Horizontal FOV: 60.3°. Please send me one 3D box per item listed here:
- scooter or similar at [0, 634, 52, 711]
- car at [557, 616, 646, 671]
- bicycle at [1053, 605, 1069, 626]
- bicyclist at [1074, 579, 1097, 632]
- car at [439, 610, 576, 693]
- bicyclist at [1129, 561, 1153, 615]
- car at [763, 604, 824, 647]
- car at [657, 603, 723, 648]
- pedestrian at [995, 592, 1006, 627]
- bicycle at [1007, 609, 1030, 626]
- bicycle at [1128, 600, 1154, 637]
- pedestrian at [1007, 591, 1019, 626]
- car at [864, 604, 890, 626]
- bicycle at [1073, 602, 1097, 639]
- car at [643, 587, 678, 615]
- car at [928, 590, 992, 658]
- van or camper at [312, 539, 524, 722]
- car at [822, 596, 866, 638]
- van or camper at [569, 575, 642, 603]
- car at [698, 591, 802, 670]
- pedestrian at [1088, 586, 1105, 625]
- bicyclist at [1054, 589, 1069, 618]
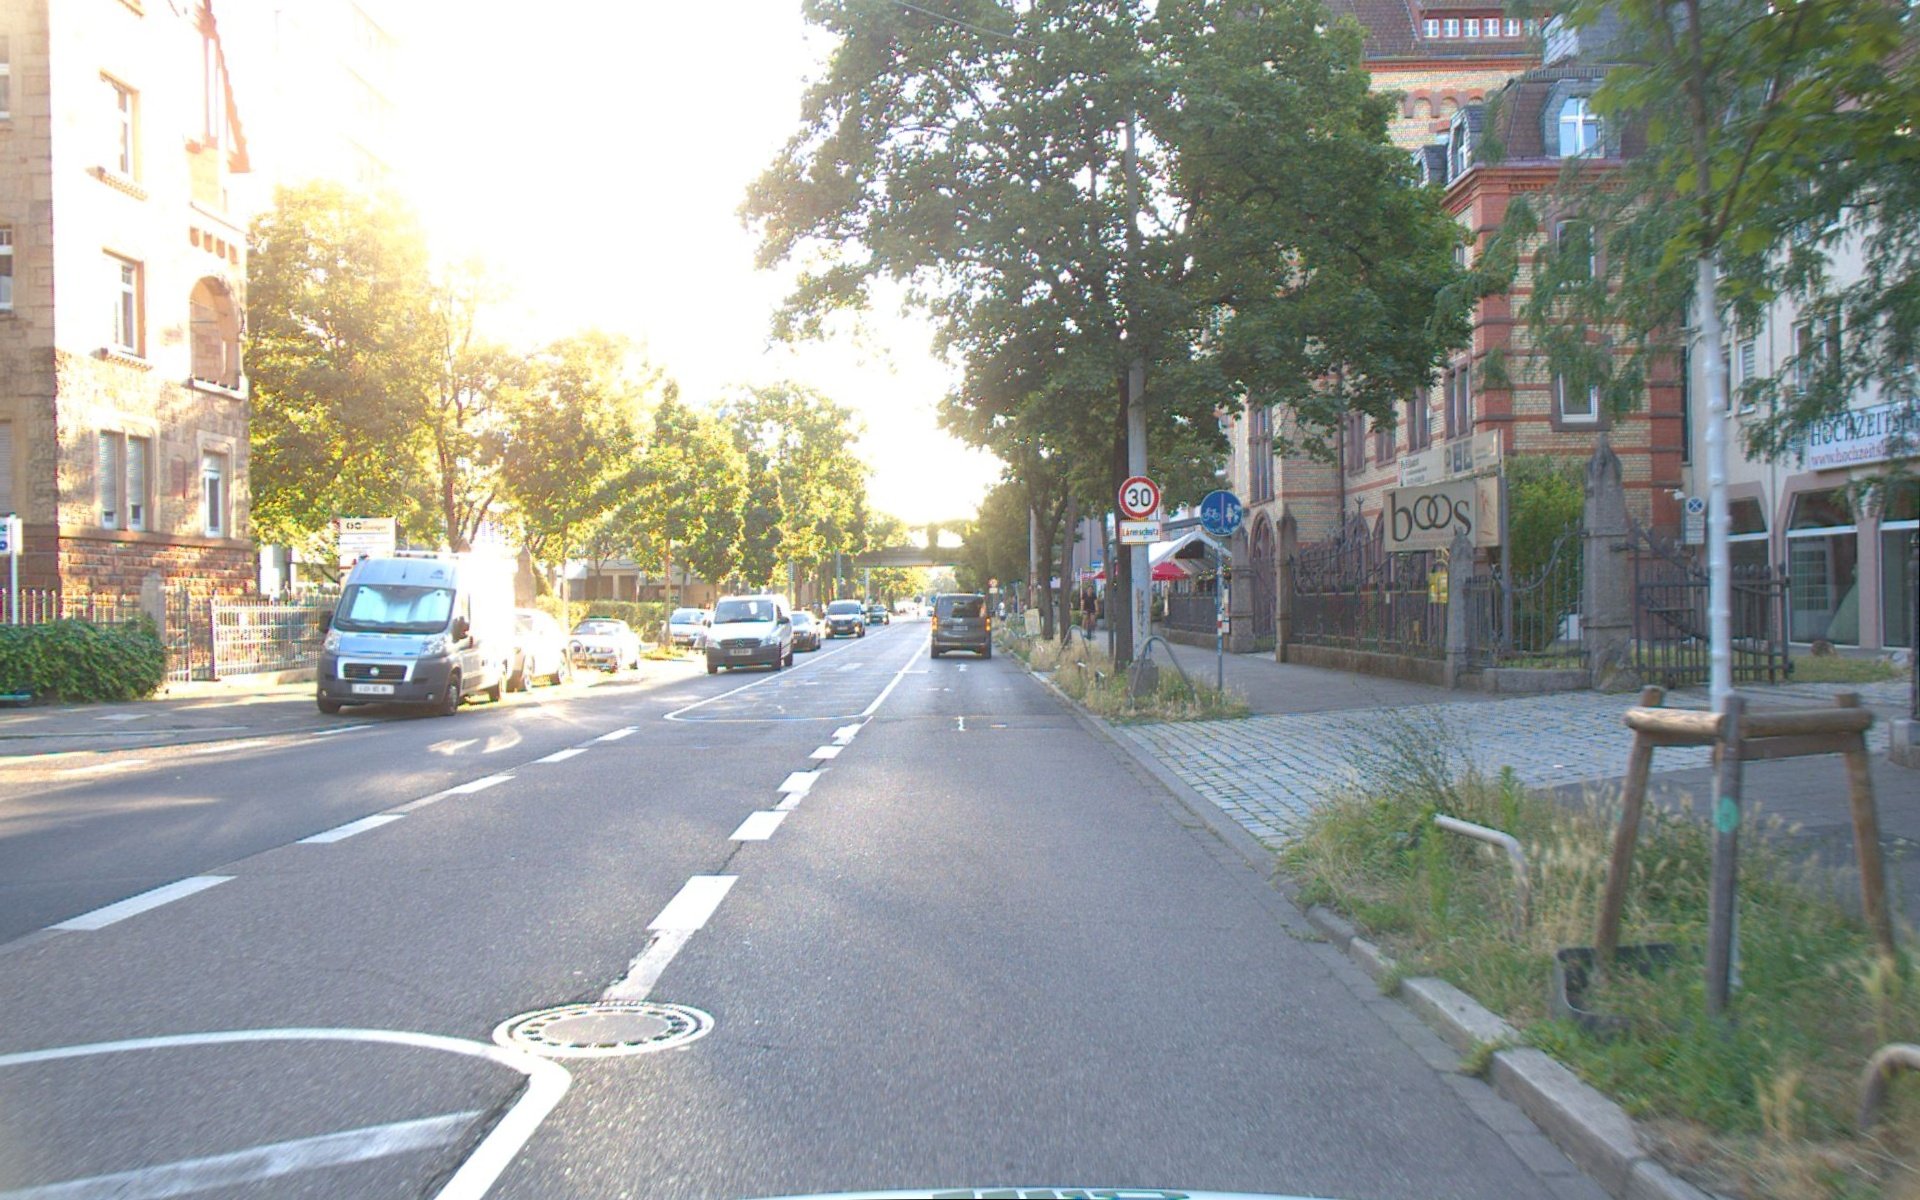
[{"bbox_3d":[-13.733,1.051,23.789,0.283,1.075,1.111,-2,0,42],"label":"scooter or similar"},{"bbox_3d":[-8.998,1.067,41.709,1.505,1.270,3.613,1,0,-1],"label":"car"},{"bbox_3d":[4.457,0.677,72.846,0.567,0.913,1.987,1,0,0],"label":"bicycle"},{"bbox_3d":[3.744,0.165,49.444,0.583,1.559,0.893,1,0,-1],"label":"bicyclist"},{"bbox_3d":[-9.277,1.017,34.246,1.711,1.561,4.301,1,0,-1],"label":"car"},{"bbox_3d":[5.314,-0.348,48.675,0.583,1.559,0.893,1,0,-1],"label":"bicyclist"},{"bbox_3d":[-6.019,0.911,60.189,1.723,1.410,4.304,-2,0,0],"label":"car"},{"bbox_3d":[-9.189,0.842,56.528,1.662,1.477,3.999,1,0,-1],"label":"car"},{"bbox_3d":[2.229,0.517,90.983,0.496,1.922,0.543,1,0,-15],"label":"pedestrian"},{"bbox_3d":[3.219,0.967,91.359,0.579,0.913,1.976,1,0,-19],"label":"bicycle"},{"bbox_3d":[5.318,0.540,48.599,0.507,1.058,2.088,1,0,0],"label":"bicycle"},{"bbox_3d":[2.879,0.479,90.541,0.496,1.922,0.543,1,0,-15],"label":"pedestrian"},{"bbox_3d":[-6.072,1.089,121.885,1.645,1.556,4.000,-3,0,0],"label":"car"},{"bbox_3d":[3.733,0.606,49.475,0.533,1.058,2.088,1,0,0],"label":"bicycle"},{"bbox_3d":[-25.322,0.085,140.051,1.953,2.348,5.245,1,0,0],"label":"car"},{"bbox_3d":[0.029,0.687,50.750,1.849,1.958,3.839,-2,0,1],"label":"car"},{"bbox_3d":[-8.884,0.448,27.733,1.954,2.715,6.033,1,0,-4],"label":"van or camper"},{"bbox_3d":[-5.548,0.774,79.367,1.796,1.885,4.473,-2,0,-1],"label":"car"},{"bbox_3d":[-33.828,-1.023,158.064,6.431,2.566,2.448,1,0,-2],"label":"van or camper"},{"bbox_3d":[-5.398,0.751,43.147,1.953,1.863,5.170,-2,0,1],"label":"car"},{"bbox_3d":[5.849,0.225,70.813,0.631,1.661,0.656,1,0,0],"label":"pedestrian"},{"bbox_3d":[4.476,0.158,72.824,0.573,1.258,1.112,1,0,-1],"label":"bicyclist"}]
